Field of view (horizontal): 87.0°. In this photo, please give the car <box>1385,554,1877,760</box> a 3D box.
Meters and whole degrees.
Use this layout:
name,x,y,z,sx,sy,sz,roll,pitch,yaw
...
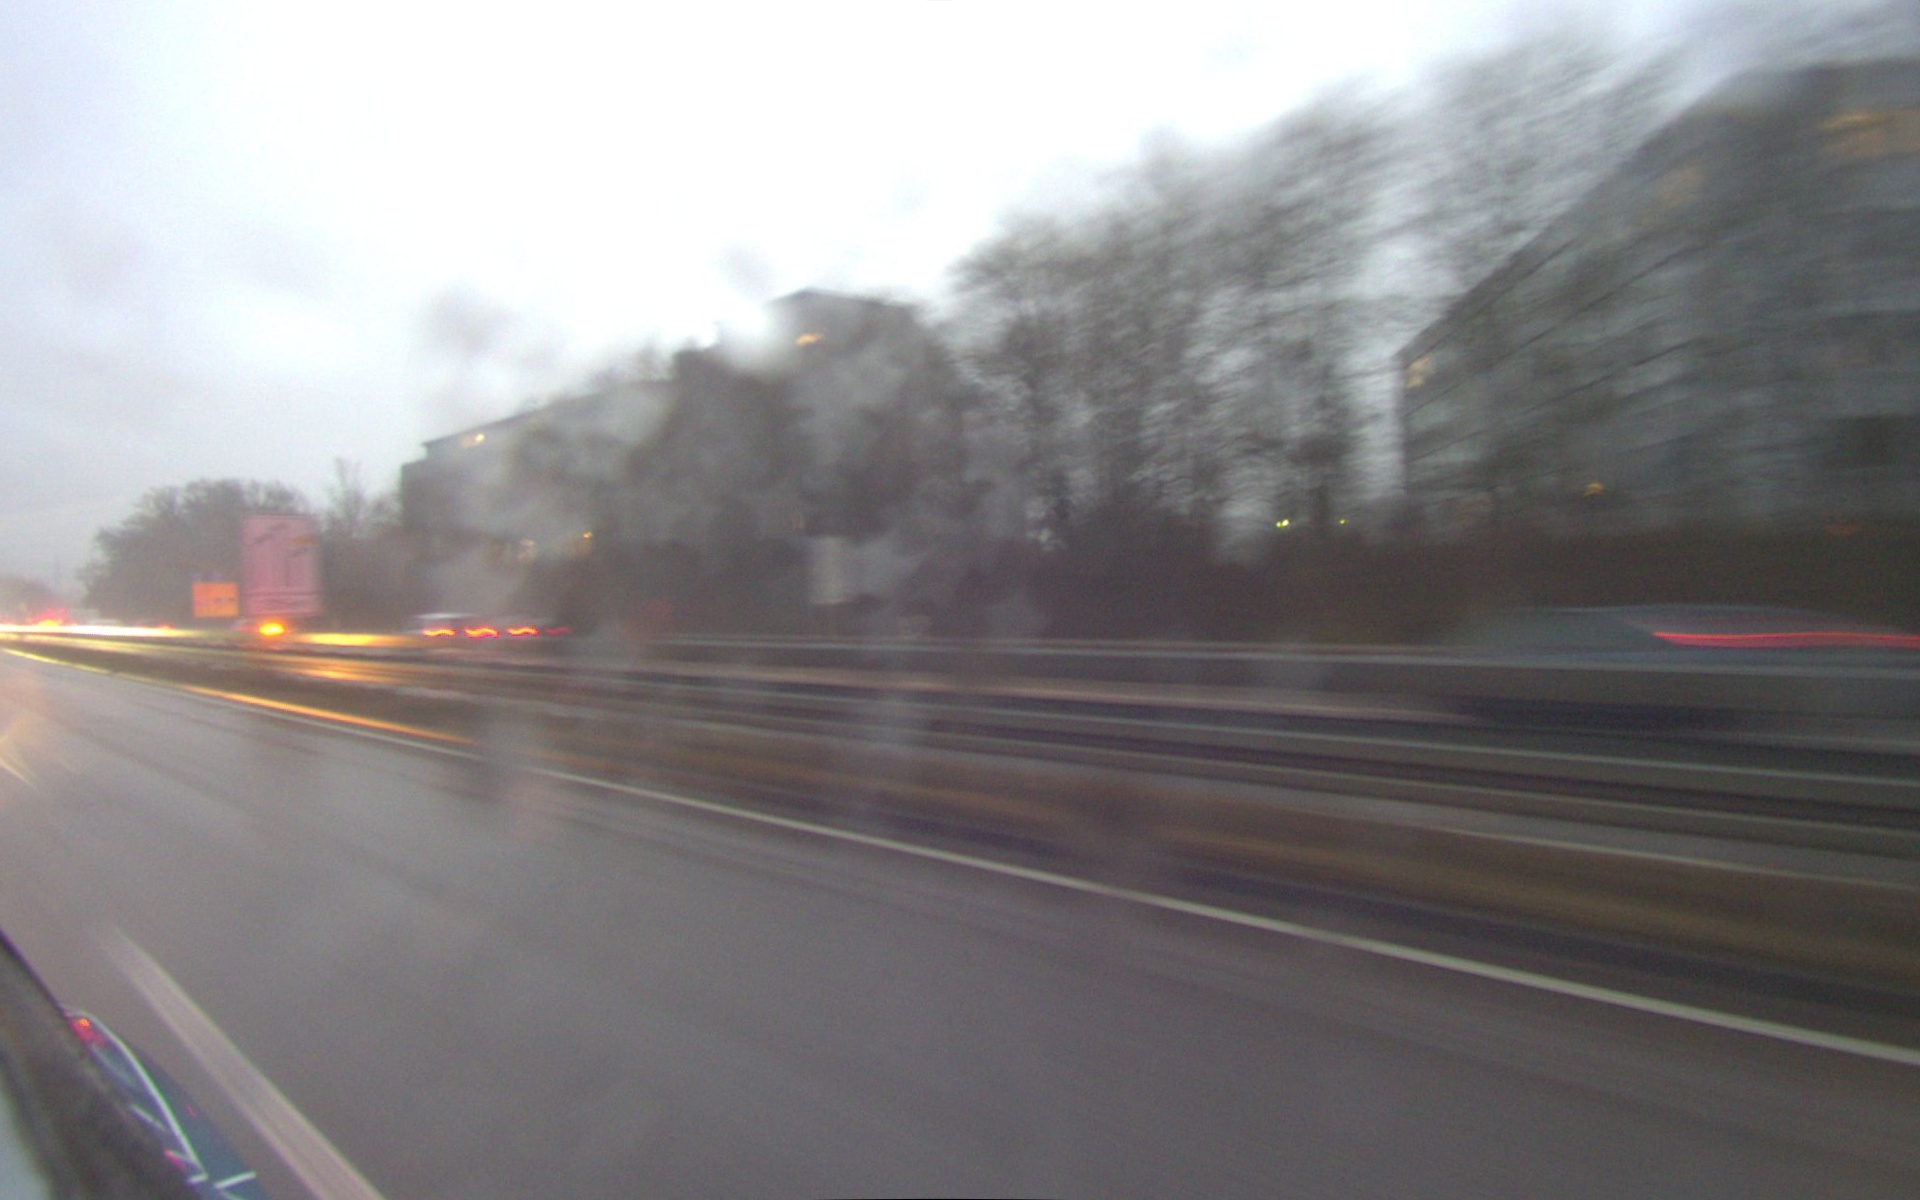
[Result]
name,x,y,z,sx,sy,sz,roll,pitch,yaw
car,7.100,0.532,11.027,4.205,1.799,1.627,-2,2,42

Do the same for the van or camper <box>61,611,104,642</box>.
name,x,y,z,sx,sy,sz,roll,pitch,yaw
van or camper,-79.997,2.453,92.209,7.403,2.590,2.054,-2,2,43

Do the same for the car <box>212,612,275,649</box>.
name,x,y,z,sx,sy,sz,roll,pitch,yaw
car,-38.267,1.580,54.013,1.970,1.766,4.903,-4,2,-43

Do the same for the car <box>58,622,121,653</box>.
name,x,y,z,sx,sy,sz,roll,pitch,yaw
car,-48.926,2.081,56.841,5.373,1.537,1.972,-2,2,43

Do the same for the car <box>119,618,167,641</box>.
name,x,y,z,sx,sy,sz,roll,pitch,yaw
car,-54.746,1.944,67.794,4.208,1.370,1.875,-2,2,44

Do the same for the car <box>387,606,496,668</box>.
name,x,y,z,sx,sy,sz,roll,pitch,yaw
car,-16.519,1.145,32.157,3.940,1.766,1.733,-2,2,43

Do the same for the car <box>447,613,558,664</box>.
name,x,y,z,sx,sy,sz,roll,pitch,yaw
car,-16.451,1.347,36.320,4.471,1.692,1.972,-2,-1,42
